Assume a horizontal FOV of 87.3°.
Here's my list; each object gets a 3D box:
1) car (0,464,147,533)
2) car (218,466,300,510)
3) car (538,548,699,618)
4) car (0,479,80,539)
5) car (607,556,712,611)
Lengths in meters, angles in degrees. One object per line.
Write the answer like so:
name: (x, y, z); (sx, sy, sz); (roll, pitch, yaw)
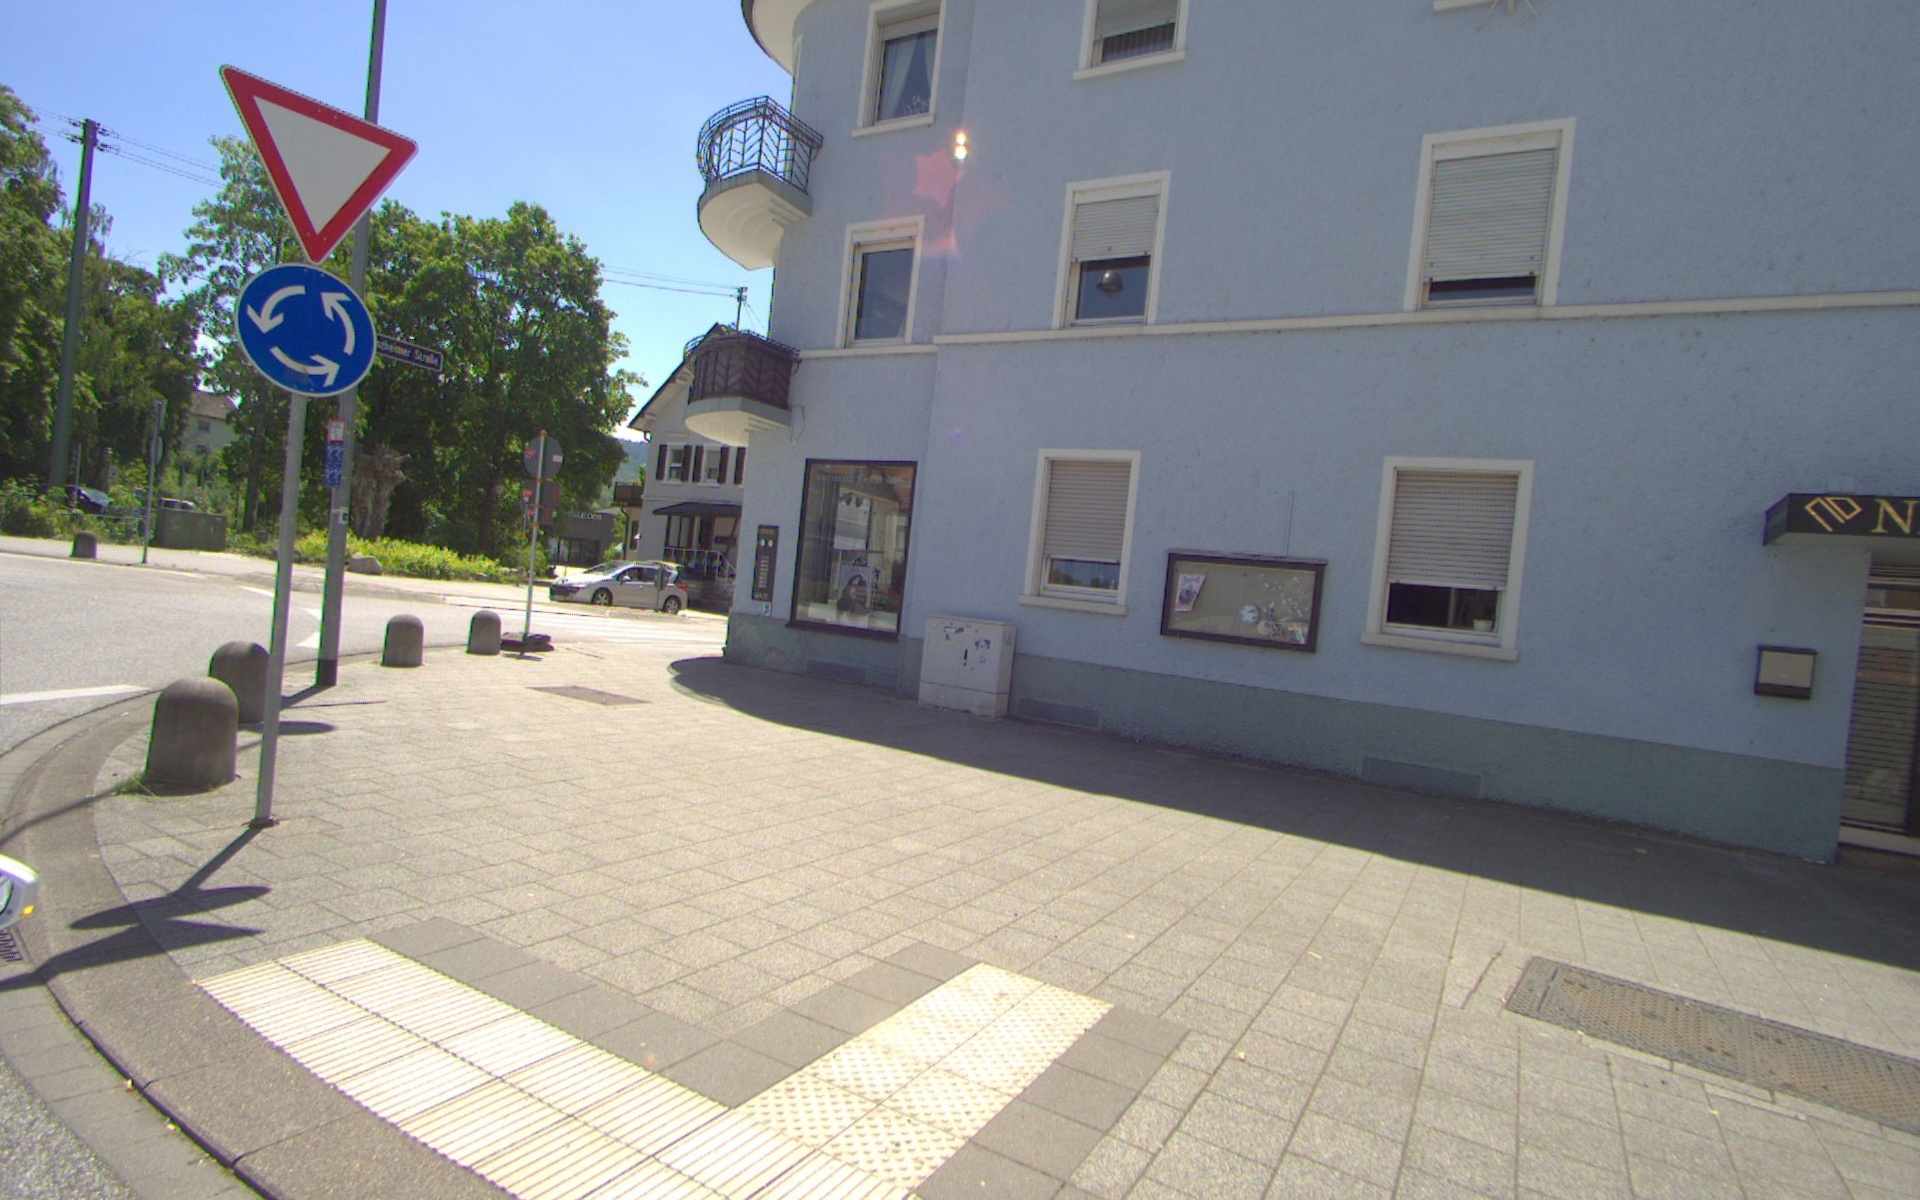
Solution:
car: (-35.096, -3.963, 39.817); (3.933, 2.039, 1.996); (7, 1, -10)
car: (-43.115, -6.869, 61.991); (3.961, 2.039, 1.981); (6, 1, -34)
car: (-9.836, -0.454, 29.302); (1.717, 1.535, 4.197); (7, 0, 32)
car: (-28.550, -2.816, 29.969); (1.603, 1.572, 3.059); (7, 1, 17)
car: (-11.943, -0.659, 39.928); (3.935, 1.660, 1.753); (7, 1, 33)
